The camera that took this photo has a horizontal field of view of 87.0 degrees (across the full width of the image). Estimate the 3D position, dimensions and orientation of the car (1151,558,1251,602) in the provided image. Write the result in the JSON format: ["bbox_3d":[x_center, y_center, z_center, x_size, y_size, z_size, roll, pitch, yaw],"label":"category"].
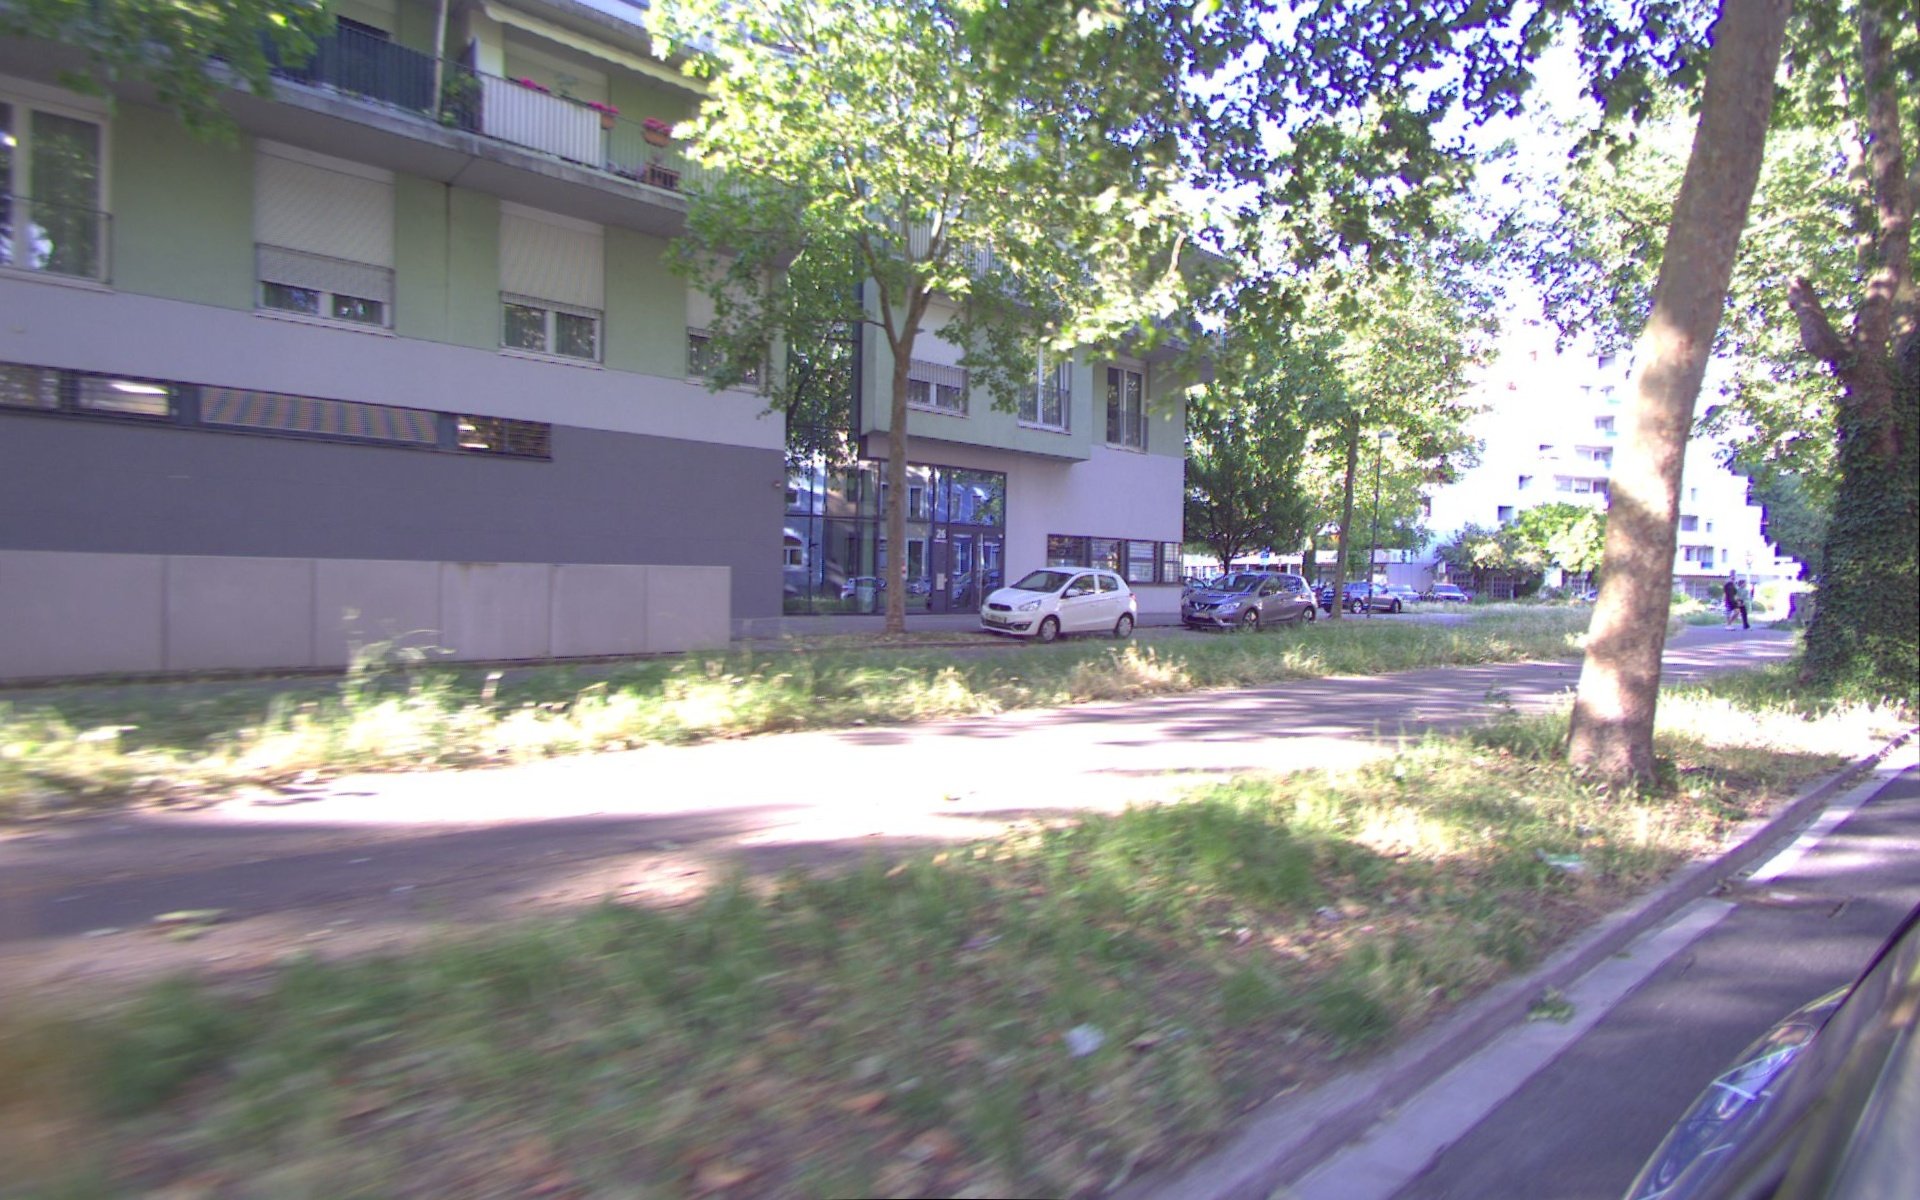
[{"bbox_3d":[9.561,-0.799,40.172,3.483,1.473,1.679,4,0,-24],"label":"car"}]

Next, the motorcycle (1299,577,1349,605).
[{"bbox_3d":[17.310,-0.425,48.169,2.269,1.263,0.953,0,1,-29],"label":"motorcycle"}]

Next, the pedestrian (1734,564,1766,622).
[{"bbox_3d":[27.424,-0.253,35.143,0.834,1.956,0.771,2,1,38],"label":"pedestrian"}]

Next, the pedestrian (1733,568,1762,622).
[{"bbox_3d":[27.942,-0.187,35.919,0.781,1.903,0.792,2,1,38],"label":"pedestrian"}]

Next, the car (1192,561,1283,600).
[{"bbox_3d":[15.289,-1.068,55.780,4.537,1.798,2.005,4,0,-24],"label":"car"}]

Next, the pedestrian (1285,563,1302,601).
[{"bbox_3d":[15.950,-0.864,48.457,0.521,1.773,0.561,-1,1,-29],"label":"pedestrian"}]

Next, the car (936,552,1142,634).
[{"bbox_3d":[1.723,-0.174,21.228,4.244,1.562,1.862,0,2,-41],"label":"car"}]

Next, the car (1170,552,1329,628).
[{"bbox_3d":[7.495,-0.283,25.988,4.244,1.793,1.908,0,2,-41],"label":"car"}]

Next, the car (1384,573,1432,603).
[{"bbox_3d":[26.689,-0.691,60.441,1.802,1.607,4.349,4,0,14],"label":"car"}]

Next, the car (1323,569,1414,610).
[{"bbox_3d":[18.330,-0.468,45.387,3.906,1.542,1.678,4,0,-30],"label":"car"}]

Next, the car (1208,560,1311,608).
[{"bbox_3d":[15.516,-0.811,52.422,4.946,2.123,2.005,4,0,-24],"label":"car"}]

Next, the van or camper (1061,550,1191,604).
[{"bbox_3d":[7.386,-1.002,44.992,5.258,2.275,2.270,1,1,-23],"label":"van or camper"}]

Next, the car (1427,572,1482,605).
[{"bbox_3d":[28.640,-0.637,58.768,1.910,1.680,4.457,4,0,14],"label":"car"}]
